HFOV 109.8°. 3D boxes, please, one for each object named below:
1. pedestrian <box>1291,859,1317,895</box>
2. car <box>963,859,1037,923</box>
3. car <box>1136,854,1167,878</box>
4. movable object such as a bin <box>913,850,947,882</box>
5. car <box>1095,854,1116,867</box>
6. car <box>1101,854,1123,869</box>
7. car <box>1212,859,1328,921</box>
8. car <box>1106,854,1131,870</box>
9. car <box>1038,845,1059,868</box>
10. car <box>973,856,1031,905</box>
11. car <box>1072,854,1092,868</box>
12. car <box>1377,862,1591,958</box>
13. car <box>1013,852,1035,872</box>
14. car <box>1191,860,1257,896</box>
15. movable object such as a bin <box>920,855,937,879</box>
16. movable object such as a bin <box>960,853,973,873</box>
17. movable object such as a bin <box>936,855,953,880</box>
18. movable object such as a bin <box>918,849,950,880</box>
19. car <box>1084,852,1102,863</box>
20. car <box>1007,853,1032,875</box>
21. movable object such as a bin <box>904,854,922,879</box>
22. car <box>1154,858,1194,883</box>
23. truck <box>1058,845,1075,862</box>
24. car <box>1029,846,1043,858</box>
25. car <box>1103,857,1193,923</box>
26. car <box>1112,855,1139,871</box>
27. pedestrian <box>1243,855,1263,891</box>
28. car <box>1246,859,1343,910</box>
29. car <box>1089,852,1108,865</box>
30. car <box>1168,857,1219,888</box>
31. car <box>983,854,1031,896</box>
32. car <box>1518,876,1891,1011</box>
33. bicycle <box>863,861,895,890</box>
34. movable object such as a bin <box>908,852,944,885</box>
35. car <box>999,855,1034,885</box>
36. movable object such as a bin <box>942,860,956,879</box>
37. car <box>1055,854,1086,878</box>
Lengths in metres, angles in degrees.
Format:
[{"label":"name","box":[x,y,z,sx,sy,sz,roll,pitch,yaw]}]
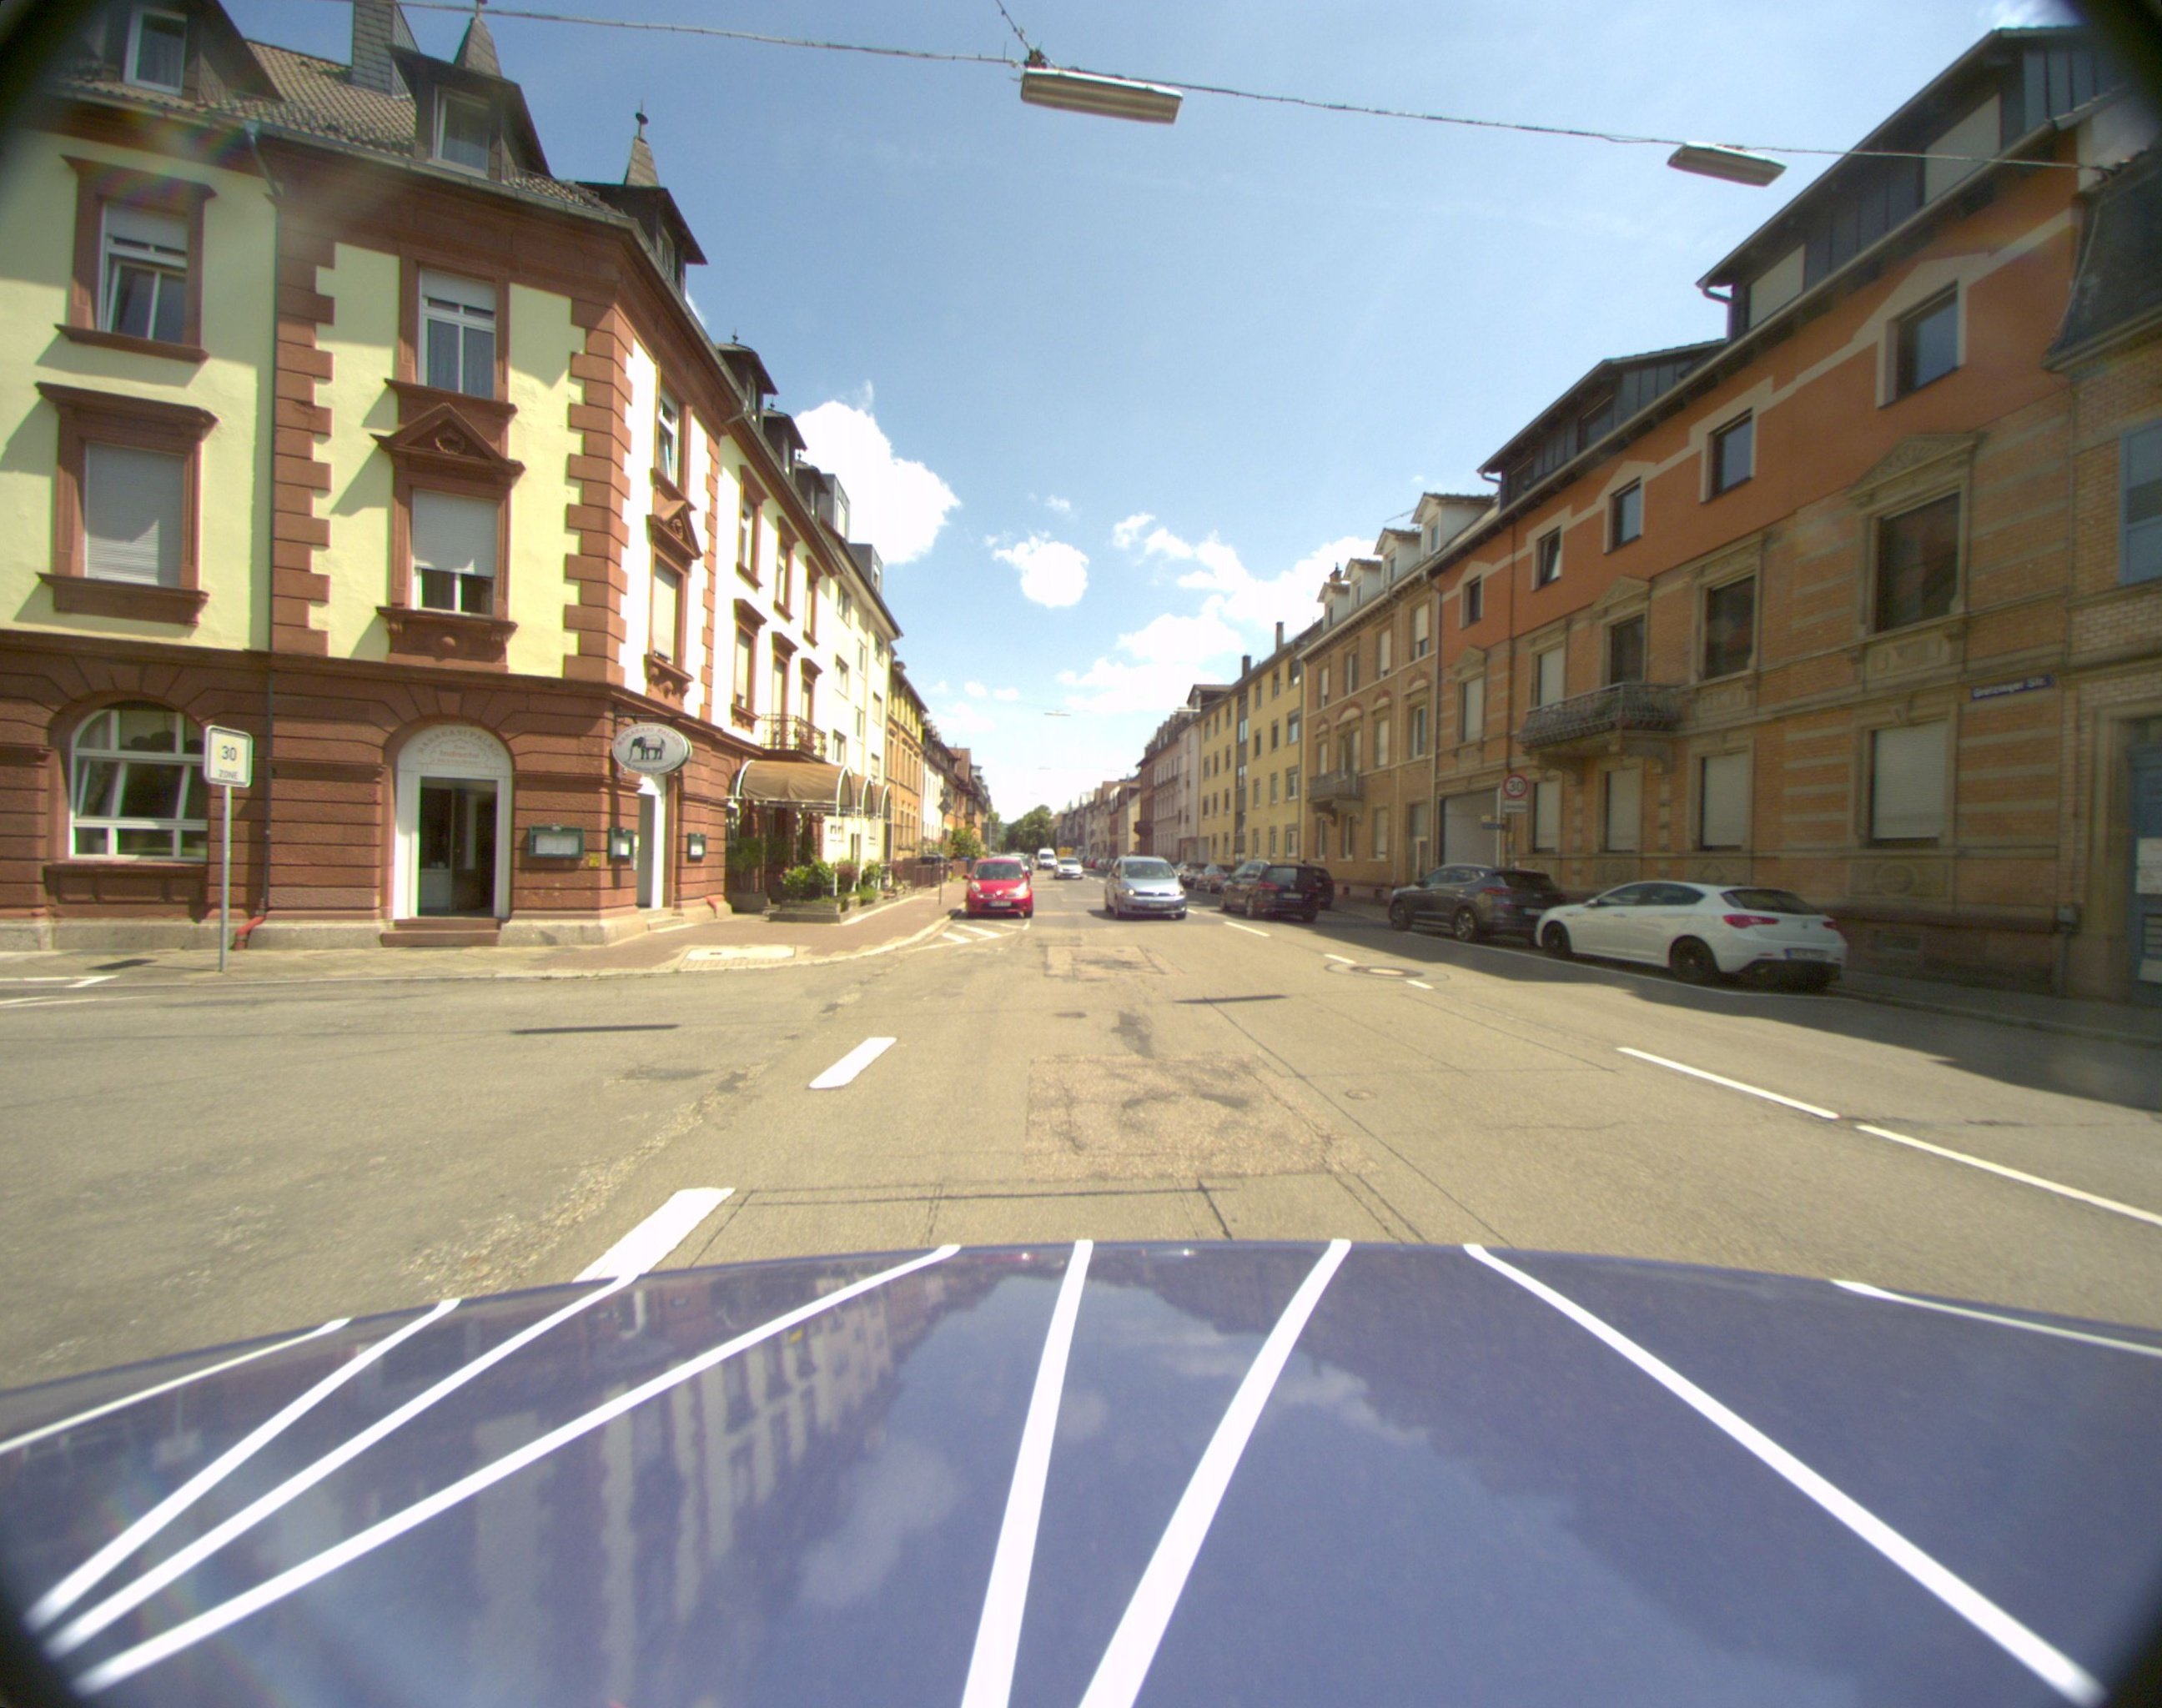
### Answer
[{"label":"pedestrian","box":[9.662,0.991,32.928,0.804,1.525,0.875,2,1,0]},{"label":"car","box":[-2.203,0.917,20.341,1.763,1.470,3.781,-1,0,-7]},{"label":"car","box":[5.187,0.890,55.399,1.747,1.579,3.957,5,0,11]},{"label":"movable object such as a bin","box":[-6.822,0.529,34.379,1.286,1.388,1.364,2,0,-3]},{"label":"car","box":[2.854,0.745,90.214,1.750,1.402,4.101,5,0,-7]},{"label":"car","box":[3.421,0.831,84.530,1.750,1.402,4.101,5,0,-7]},{"label":"car","box":[5.116,0.919,21.163,1.765,1.485,4.243,2,0,-6]},{"label":"car","box":[3.860,0.836,79.048,1.750,1.402,4.101,5,0,-7]},{"label":"car","box":[-3.427,0.244,79.389,1.906,2.261,5.669,1,0,-5]},{"label":"car","box":[-2.618,0.850,26.058,1.762,1.470,3.929,-1,0,-3]},{"label":"car","box":[0.135,0.851,93.781,1.914,1.601,4.443,2,0,-7]},{"label":"car","box":[8.568,1.096,16.727,1.871,1.618,4.497,5,0,-6]},{"label":"car","box":[-4.486,0.628,59.666,1.709,1.470,3.929,-1,0,-5]},{"label":"car","box":[6.953,1.123,37.454,1.910,1.443,4.684,5,0,-4]},{"label":"movable object such as a bin","box":[-7.432,0.633,37.080,0.723,1.161,0.747,2,1,-5]},{"label":"movable object such as a bin","box":[-7.544,0.592,50.209,0.753,1.235,0.876,2,1,-5]},{"label":"movable object such as a bin","box":[-6.676,0.657,37.151,0.723,1.181,0.747,2,1,-5]},{"label":"movable object such as a bin","box":[-6.888,0.498,35.747,1.286,1.402,1.304,2,0,-3]},{"label":"car","box":[1.563,0.447,101.990,1.666,1.402,4.101,5,0,-7]},{"label":"car","box":[-4.338,0.667,53.622,1.709,1.470,3.929,-1,0,-5]},{"label":"movable object such as a bin","box":[-8.173,0.597,36.978,0.723,1.161,0.747,2,1,-5]},{"label":"car","box":[5.958,1.048,48.921,1.749,1.402,3.913,5,0,-3]},{"label":"truck","box":[-2.475,-0.147,128.803,2.324,2.725,8.064,2,0,-5]},{"label":"car","box":[-6.259,-0.291,105.203,1.905,1.489,4.485,1,0,-4]},{"label":"car","box":[1.680,0.873,20.276,1.759,1.559,3.998,0,0,-4]},{"label":"car","box":[4.265,0.848,73.447,1.750,1.402,4.101,5,0,-7]},{"label":"pedestrian","box":[8.692,0.960,38.469,0.804,1.746,0.876,2,1,4]},{"label":"car","box":[7.829,1.073,28.331,1.871,1.542,4.497,5,0,-6]},{"label":"car","box":[2.215,0.570,96.904,1.666,1.402,4.101,5,0,-7]},{"label":"car","box":[6.453,1.038,43.869,1.870,1.542,4.311,5,0,-5]},{"label":"car","box":[-2.942,0.790,30.967,1.762,1.542,4.064,-1,0,-3]},{"label":"car","box":[9.106,1.196,11.718,1.870,1.417,4.328,5,0,-5]},{"label":"bicycle","box":[-7.234,0.766,27.286,0.552,0.977,1.630,1,0,7]},{"label":"movable object such as a bin","box":[-6.708,0.624,32.969,1.286,1.388,1.412,2,0,-3]},{"label":"car","box":[-3.554,0.831,41.482,1.763,1.470,4.416,-1,0,-5]},{"label":"movable object such as a bin","box":[-6.695,0.781,38.655,0.626,0.923,0.611,2,1,-5]},{"label":"car","box":[-0.754,0.758,51.359,1.905,1.489,4.485,1,0,-3]}]
